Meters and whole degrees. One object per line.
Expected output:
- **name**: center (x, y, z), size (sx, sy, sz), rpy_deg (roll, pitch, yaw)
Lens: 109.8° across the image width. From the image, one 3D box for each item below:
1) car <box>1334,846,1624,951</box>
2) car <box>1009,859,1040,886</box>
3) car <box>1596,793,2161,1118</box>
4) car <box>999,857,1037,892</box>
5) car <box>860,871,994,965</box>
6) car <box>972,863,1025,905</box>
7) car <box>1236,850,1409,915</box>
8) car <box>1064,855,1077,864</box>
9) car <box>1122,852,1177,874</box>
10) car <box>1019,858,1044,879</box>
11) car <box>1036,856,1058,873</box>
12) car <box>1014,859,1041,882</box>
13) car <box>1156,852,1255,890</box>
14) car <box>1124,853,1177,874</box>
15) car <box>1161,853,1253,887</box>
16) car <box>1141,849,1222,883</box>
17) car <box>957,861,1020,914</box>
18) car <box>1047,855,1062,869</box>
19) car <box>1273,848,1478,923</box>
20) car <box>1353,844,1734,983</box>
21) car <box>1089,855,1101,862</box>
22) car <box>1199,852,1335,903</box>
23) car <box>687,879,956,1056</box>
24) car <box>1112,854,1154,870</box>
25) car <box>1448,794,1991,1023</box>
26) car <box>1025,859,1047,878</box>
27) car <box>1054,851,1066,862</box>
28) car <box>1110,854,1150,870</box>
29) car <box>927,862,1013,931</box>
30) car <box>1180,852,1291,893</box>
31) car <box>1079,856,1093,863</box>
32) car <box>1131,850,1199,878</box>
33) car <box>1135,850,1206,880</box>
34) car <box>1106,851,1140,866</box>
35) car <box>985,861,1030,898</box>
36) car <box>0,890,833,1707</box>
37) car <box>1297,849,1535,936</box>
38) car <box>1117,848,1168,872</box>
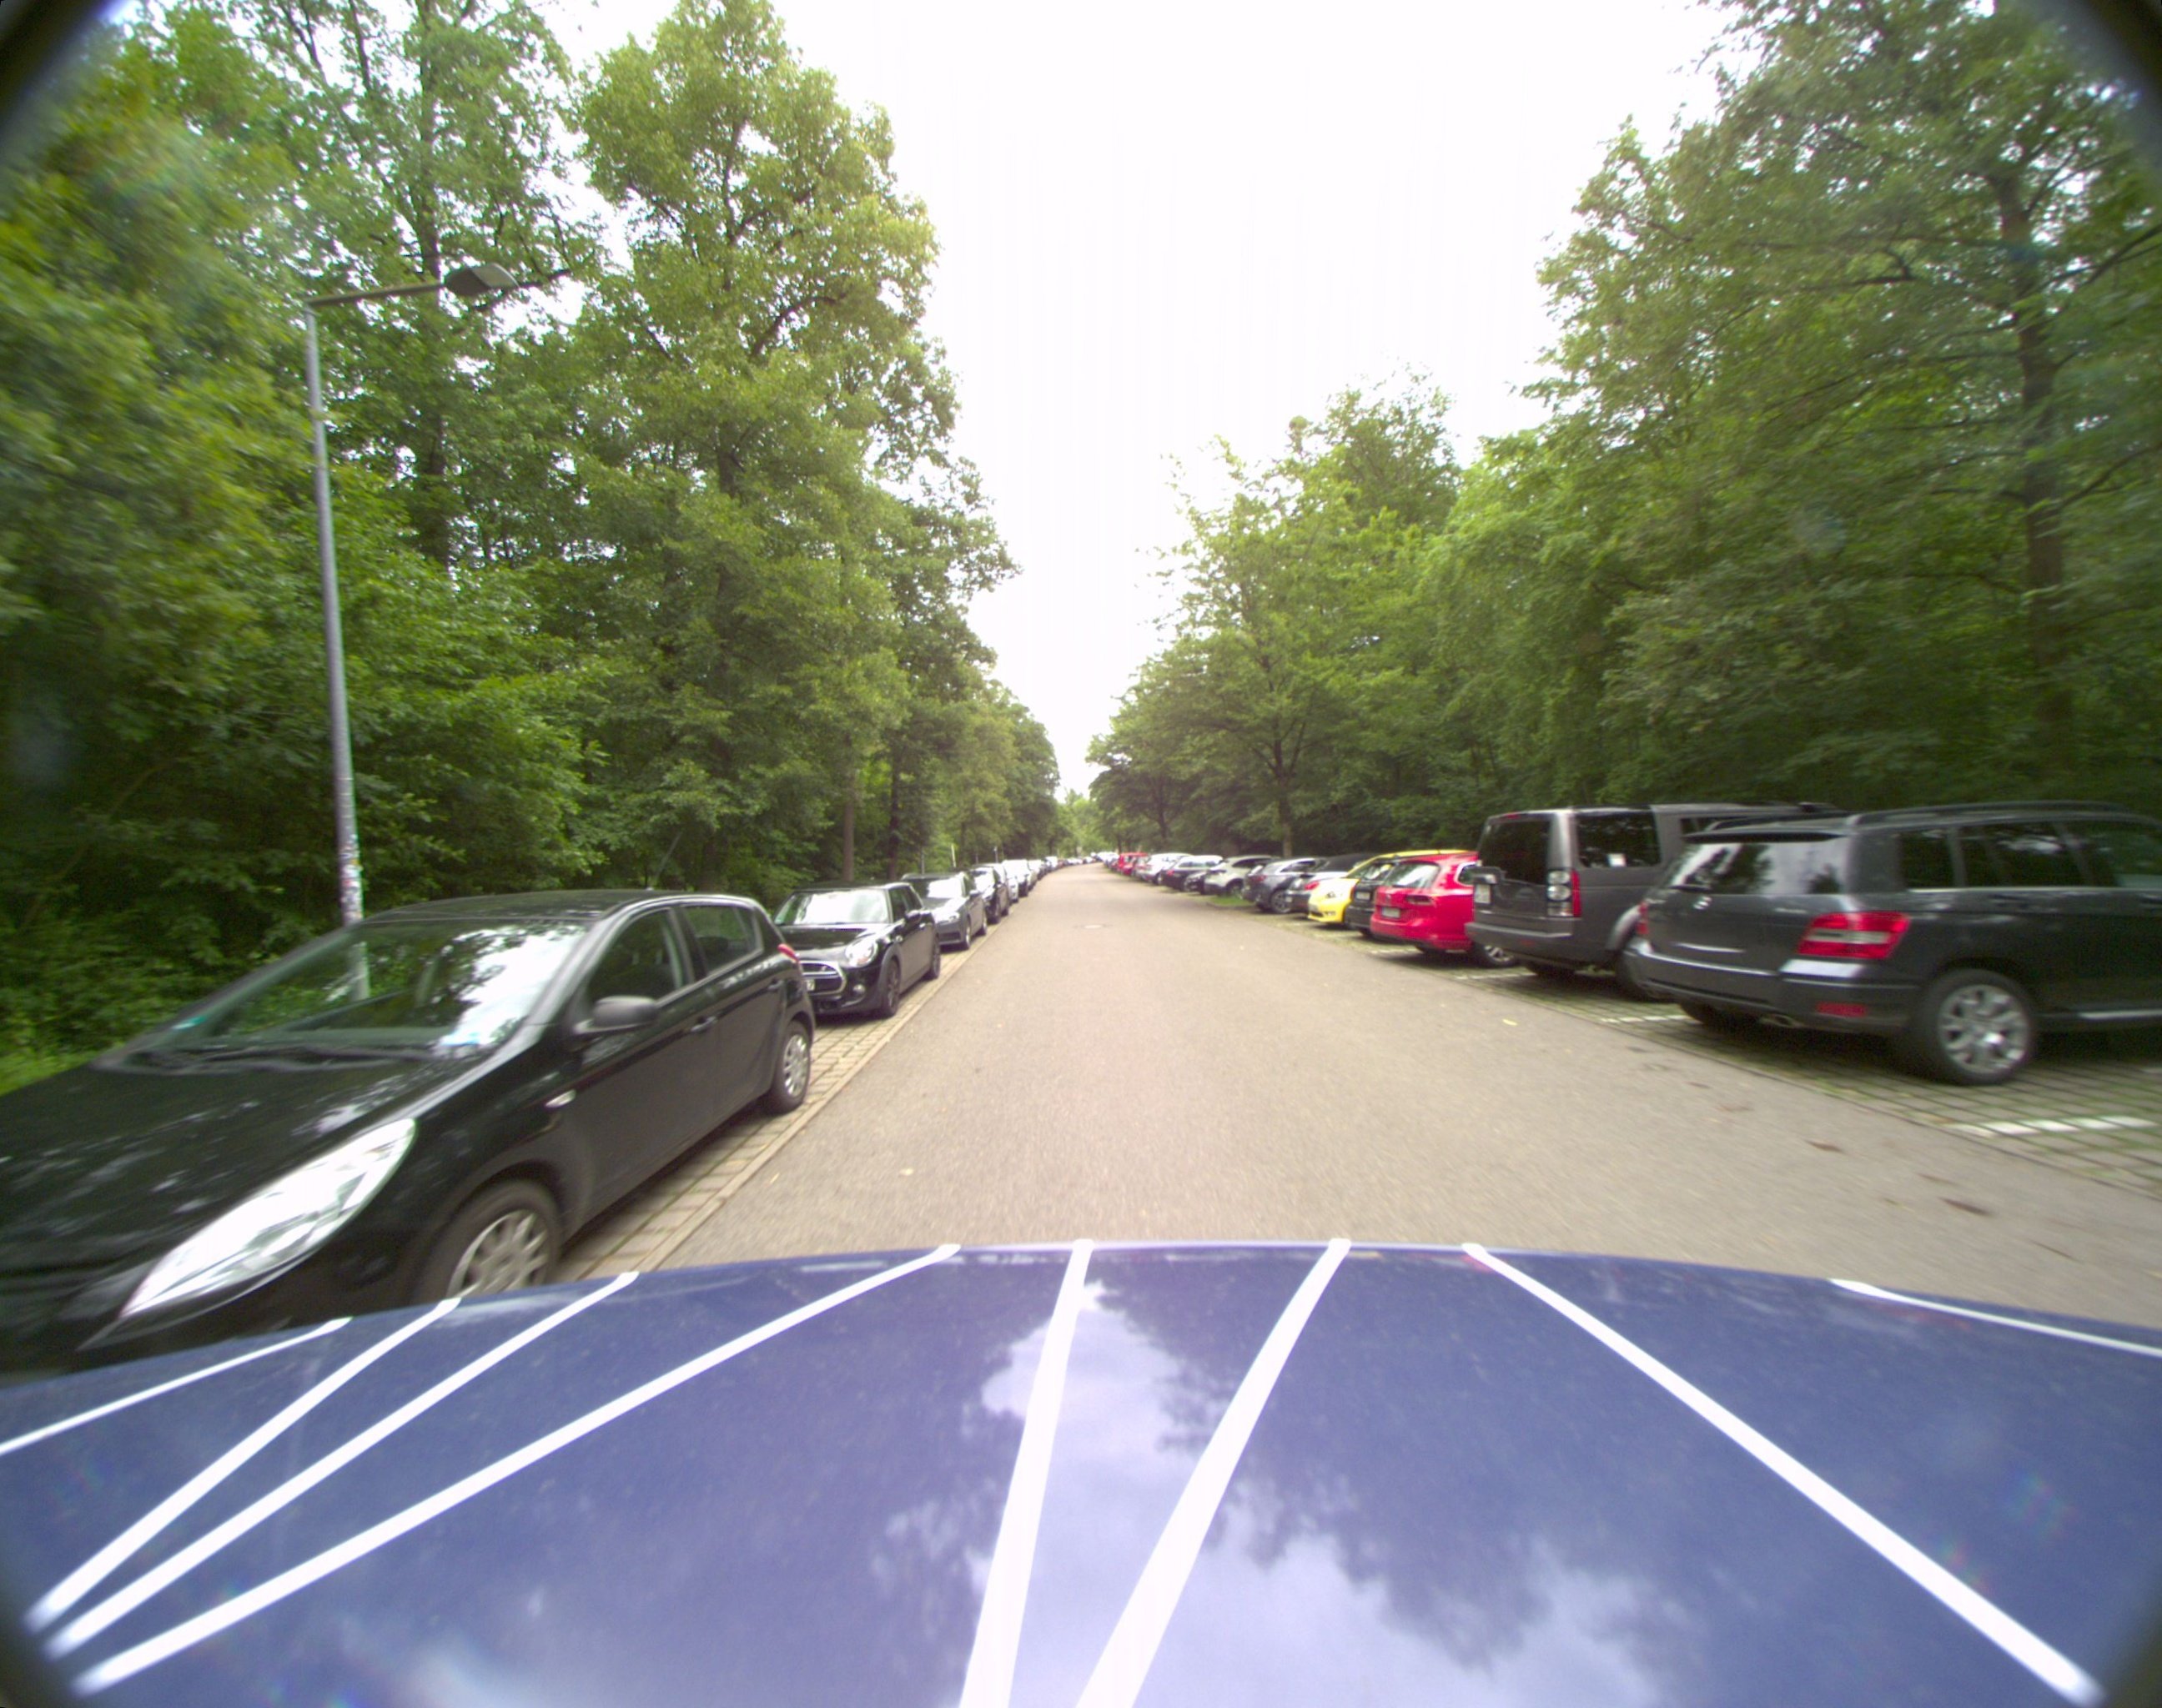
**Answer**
- **car**: center (6.589, 0.704, 12.827), size (3.998, 1.430, 1.671), rpy_deg (-3, 0, -3)
- **car**: center (-3.506, 1.129, 47.965), size (1.741, 1.471, 4.768), rpy_deg (-3, 0, -3)
- **car**: center (6.254, 0.529, 5.347), size (3.998, 1.755, 1.823), rpy_deg (-3, 0, -3)
- **car**: center (-3.342, 1.052, 40.954), size (1.741, 1.634, 5.070), rpy_deg (-3, 0, -3)
- **car**: center (-2.889, 1.149, 15.221), size (1.741, 1.423, 4.501), rpy_deg (-3, 0, 0)
- **car**: center (-3.196, 1.147, 30.088), size (1.741, 1.416, 4.153), rpy_deg (-3, 0, -3)
- **car**: center (6.352, 0.727, 20.261), size (3.997, 1.430, 1.715), rpy_deg (-3, 0, -1)
- **car**: center (-1.852, 0.878, 133.125), size (1.501, 1.470, 3.669), rpy_deg (-3, 0, 12)
- **car**: center (5.172, 0.658, 57.986), size (3.997, 1.507, 1.771), rpy_deg (-2, 0, -1)
- **car**: center (-3.855, 1.117, 59.812), size (1.741, 1.426, 4.744), rpy_deg (-3, 0, -3)
- **car**: center (-3.872, 1.189, 86.559), size (1.909, 1.713, 4.487), rpy_deg (-3, 0, 4)
- **car**: center (-3.733, 1.121, 53.520), size (1.741, 1.398, 4.426), rpy_deg (-3, 0, -3)
- **car**: center (5.385, 0.747, 33.201), size (3.997, 1.427, 1.677), rpy_deg (-3, 0, 1)
- **car**: center (5.558, 0.749, 60.954), size (3.997, 1.507, 1.818), rpy_deg (-2, 0, -1)
- **car**: center (5.837, 0.740, 35.570), size (3.997, 1.427, 1.648), rpy_deg (-2, 0, 1)
- **car**: center (5.350, 0.651, 40.715), size (3.998, 1.652, 1.814), rpy_deg (-2, 0, -2)
- **car**: center (-3.069, 1.079, 25.903), size (1.741, 1.559, 4.007), rpy_deg (-3, 0, -3)
- **car**: center (-3.415, 1.041, 98.317), size (1.580, 1.610, 3.962), rpy_deg (-3, 0, 1)
- **car**: center (6.690, 0.693, 17.538), size (3.997, 1.430, 1.733), rpy_deg (-3, 0, -1)
- **car**: center (6.002, 0.722, 10.182), size (3.998, 1.467, 1.779), rpy_deg (-3, 0, -3)
- **car**: center (2.964, 0.924, 160.354), size (1.771, 1.308, 3.893), rpy_deg (-3, 1, 13)
- **car**: center (6.091, 0.753, 25.189), size (3.997, 1.458, 1.715), rpy_deg (-3, 0, -1)
- **car**: center (-2.798, 1.139, 9.365), size (1.741, 1.423, 4.501), rpy_deg (-3, 0, 0)
- **car**: center (4.983, 0.788, 73.108), size (3.996, 1.413, 1.742), rpy_deg (-2, 0, 2)
- **car**: center (6.239, 0.492, 7.783), size (3.997, 1.851, 1.813), rpy_deg (-3, 0, -1)
- **car**: center (-4.088, 1.296, 70.144), size (1.907, 1.577, 4.480), rpy_deg (-3, 0, -3)
- **car**: center (-3.122, 0.371, 114.963), size (1.502, 1.470, 3.666), rpy_deg (-3, 0, 2)
- **car**: center (5.321, 0.863, 83.016), size (4.222, 1.528, 1.818), rpy_deg (-2, 0, -1)
- **car**: center (-2.945, 1.070, 21.033), size (1.741, 1.579, 4.381), rpy_deg (-3, 0, -1)
- **car**: center (6.065, 0.732, 30.136), size (3.997, 1.427, 1.677), rpy_deg (-2, 0, 1)
- **car**: center (0.994, 1.128, 151.049), size (1.771, 1.307, 3.895), rpy_deg (-3, -2, 13)
- **car**: center (5.277, 0.610, 48.023), size (3.998, 1.652, 1.695), rpy_deg (-1, 0, -3)
- **car**: center (5.332, 0.634, 45.556), size (3.997, 1.652, 1.814), rpy_deg (-1, 0, 0)
- **car**: center (5.287, 0.580, 95.544), size (3.998, 1.717, 1.713), rpy_deg (-2, 0, -4)
- **car**: center (-3.314, 1.120, 34.921), size (1.741, 1.465, 4.604), rpy_deg (-3, 0, -3)
- **car**: center (-2.726, 1.046, 3.491), size (1.741, 1.486, 4.233), rpy_deg (-3, 0, 0)
- **car**: center (6.595, 0.723, 15.215), size (3.997, 1.430, 1.617), rpy_deg (-3, 0, -1)
- **car**: center (5.074, 0.470, 62.926), size (3.997, 1.804, 1.818), rpy_deg (-2, 0, -1)
